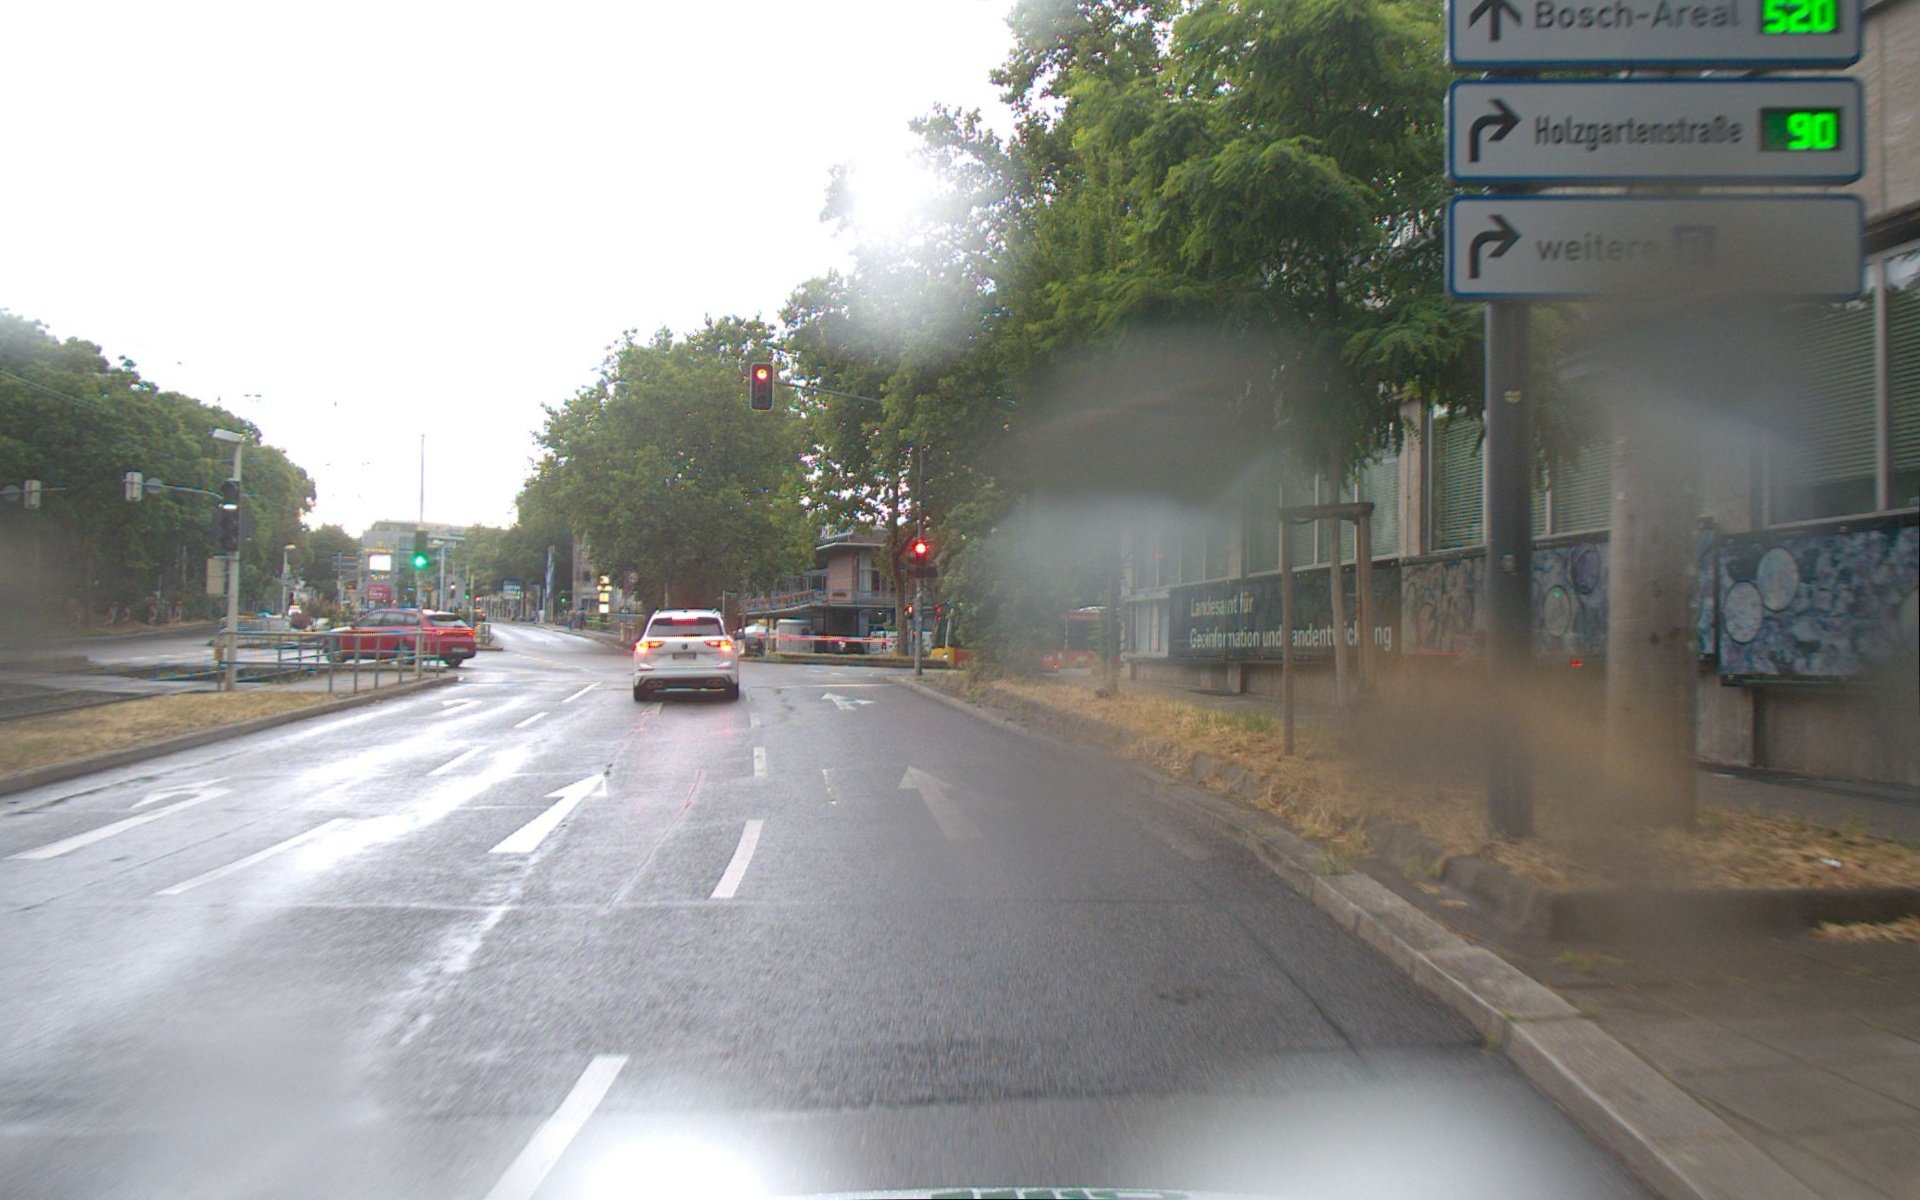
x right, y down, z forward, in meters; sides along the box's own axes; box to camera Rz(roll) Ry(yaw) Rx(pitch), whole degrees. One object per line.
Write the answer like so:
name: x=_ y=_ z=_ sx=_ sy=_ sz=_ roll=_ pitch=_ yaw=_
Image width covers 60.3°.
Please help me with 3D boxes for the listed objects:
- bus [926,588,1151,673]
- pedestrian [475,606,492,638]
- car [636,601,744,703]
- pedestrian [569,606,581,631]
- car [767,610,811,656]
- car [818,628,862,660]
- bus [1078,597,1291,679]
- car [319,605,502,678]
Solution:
bus: x=3.373 y=1.347 z=70.826 sx=9.276 sy=3.166 sz=2.546 roll=3 pitch=-2 yaw=-18
pedestrian: x=-25.478 y=1.202 z=88.441 sx=0.724 sy=1.669 sz=0.869 roll=3 pitch=-2 yaw=-9
car: x=-4.543 y=0.839 z=28.311 sx=1.647 sy=1.604 sz=4.246 roll=0 pitch=0 yaw=-7
pedestrian: x=-28.975 y=1.425 z=124.561 sx=0.745 sy=1.855 sz=0.696 roll=3 pitch=-2 yaw=-20
car: x=-12.269 y=2.383 z=118.607 sx=2.500 sy=3.189 sz=5.015 roll=3 pitch=-2 yaw=-12
car: x=-8.210 y=3.016 z=112.984 sx=1.963 sy=2.049 sz=3.978 roll=3 pitch=-2 yaw=-19
bus: x=9.926 y=1.696 z=72.908 sx=9.012 sy=3.166 sz=2.650 roll=3 pitch=-2 yaw=-18
car: x=-14.095 y=1.061 z=42.383 sx=4.319 sy=1.669 sz=1.984 roll=1 pitch=-2 yaw=29
